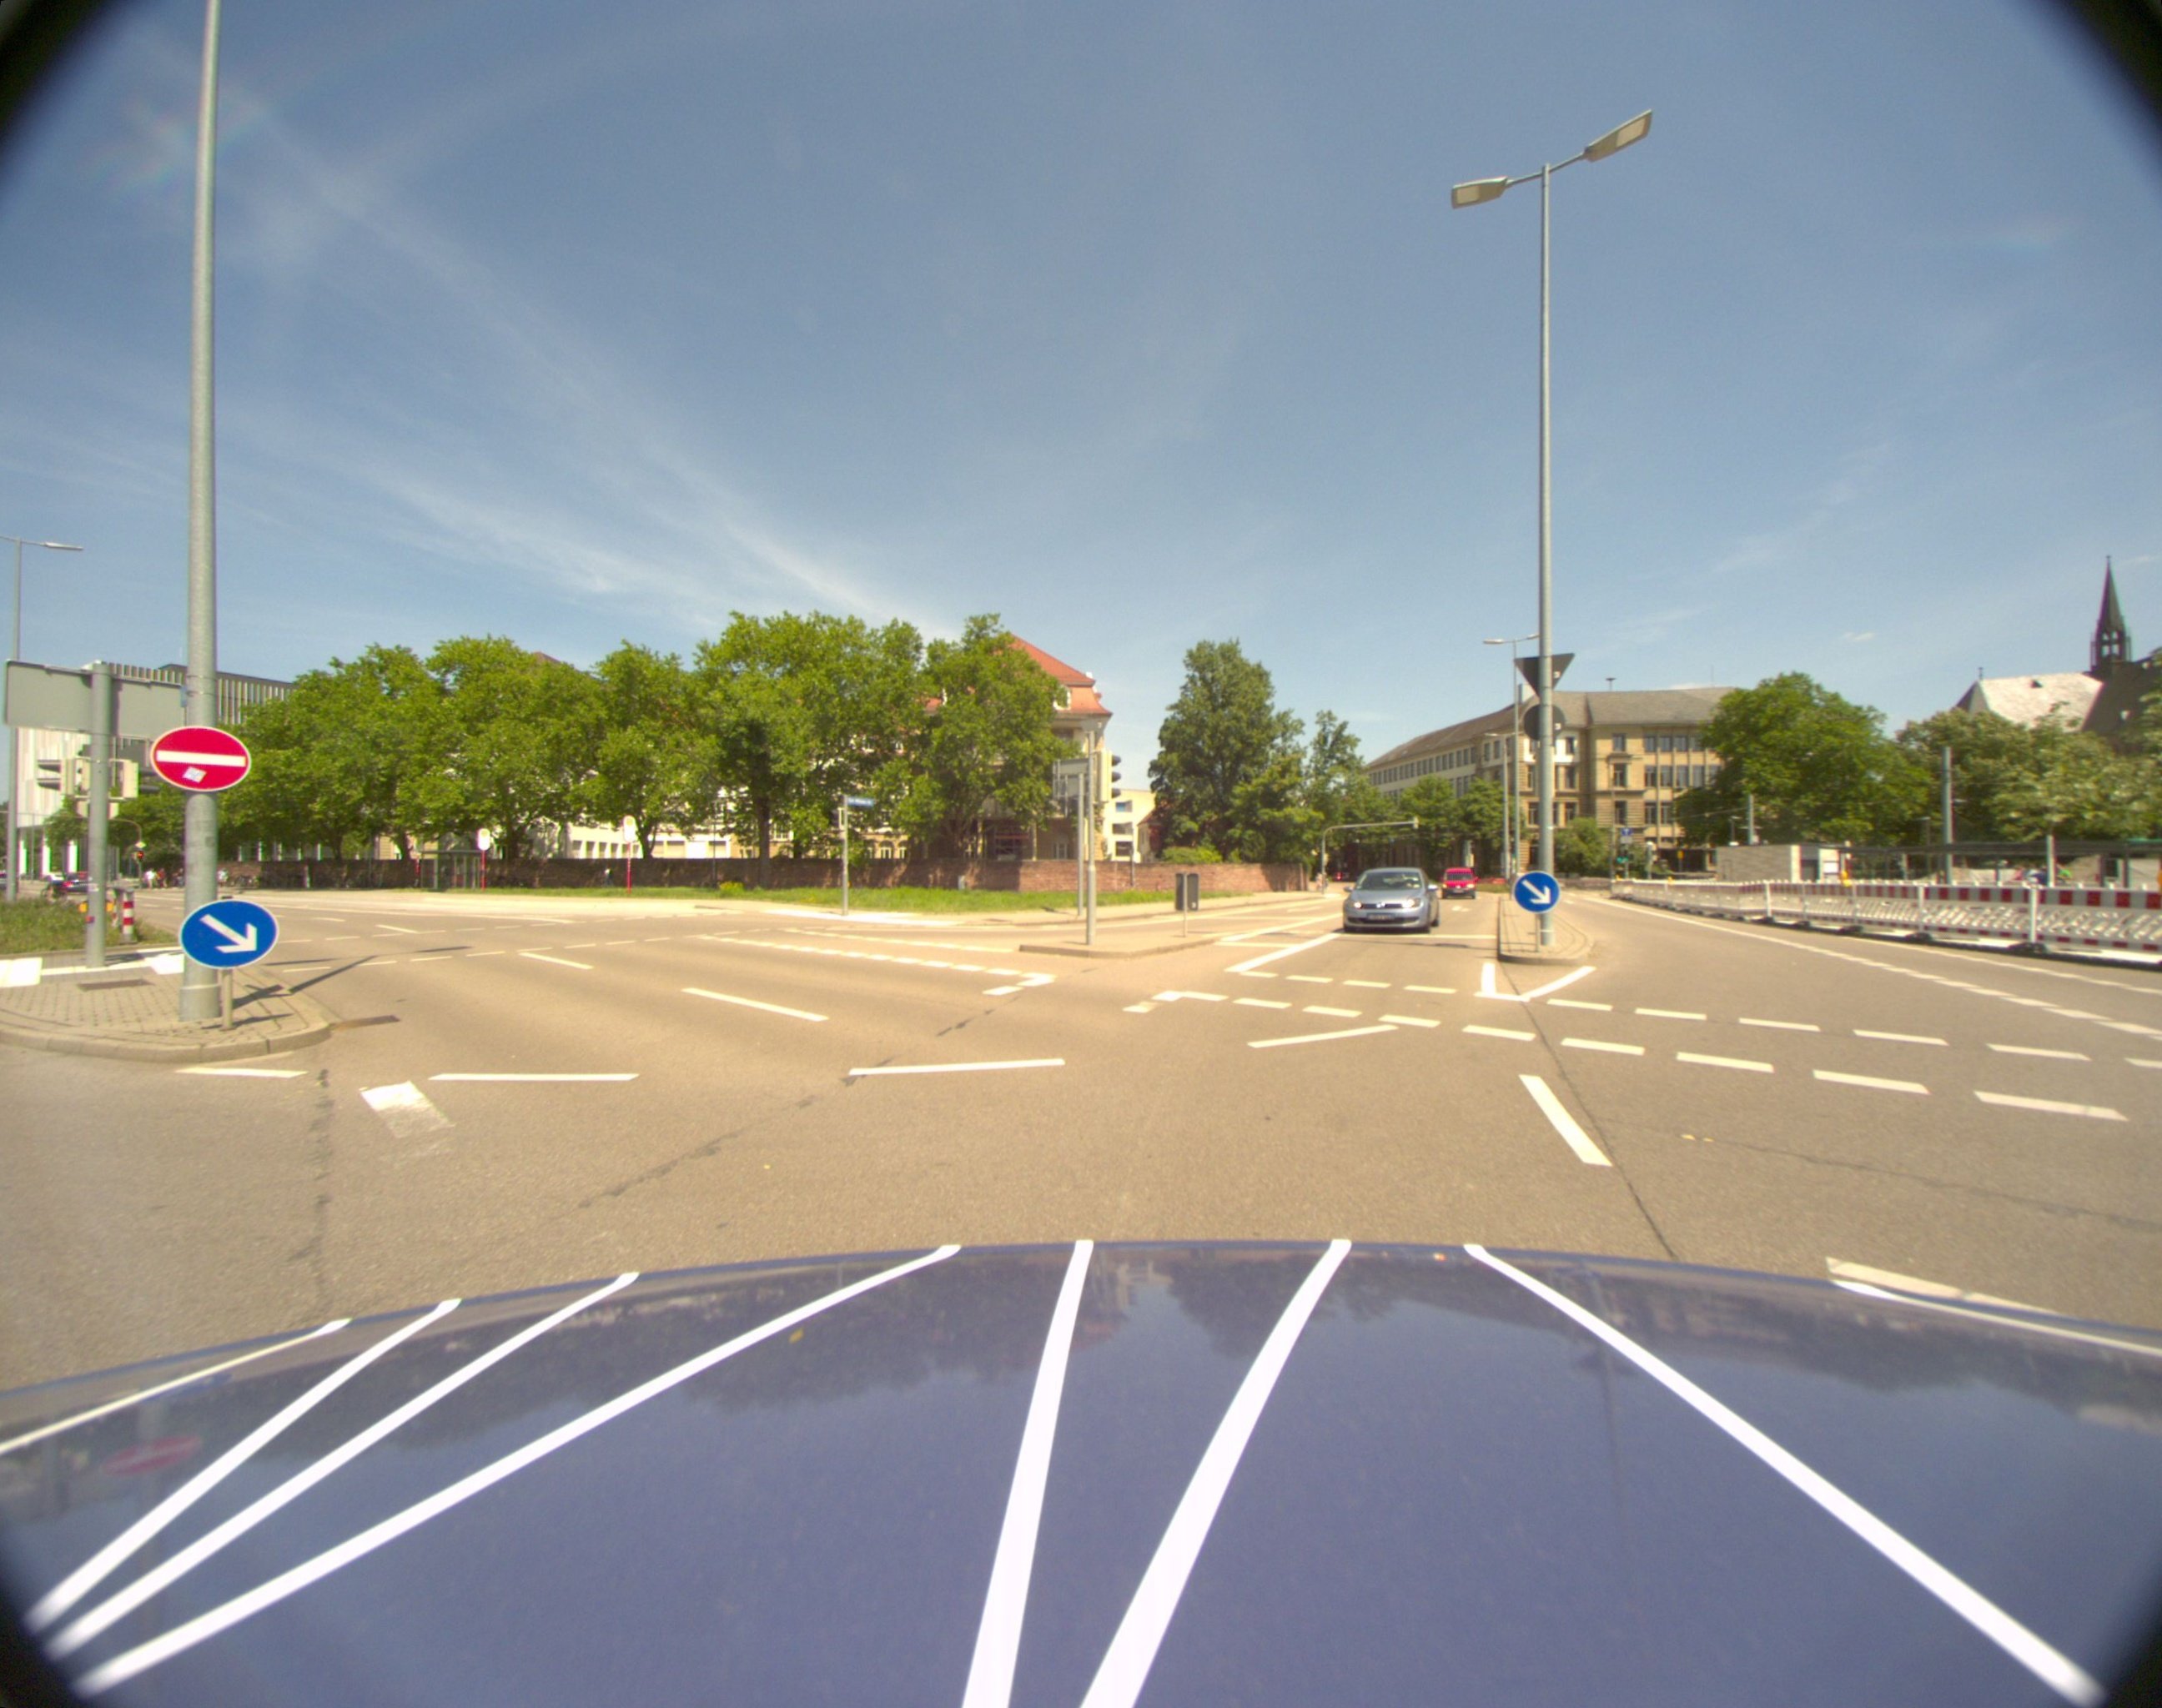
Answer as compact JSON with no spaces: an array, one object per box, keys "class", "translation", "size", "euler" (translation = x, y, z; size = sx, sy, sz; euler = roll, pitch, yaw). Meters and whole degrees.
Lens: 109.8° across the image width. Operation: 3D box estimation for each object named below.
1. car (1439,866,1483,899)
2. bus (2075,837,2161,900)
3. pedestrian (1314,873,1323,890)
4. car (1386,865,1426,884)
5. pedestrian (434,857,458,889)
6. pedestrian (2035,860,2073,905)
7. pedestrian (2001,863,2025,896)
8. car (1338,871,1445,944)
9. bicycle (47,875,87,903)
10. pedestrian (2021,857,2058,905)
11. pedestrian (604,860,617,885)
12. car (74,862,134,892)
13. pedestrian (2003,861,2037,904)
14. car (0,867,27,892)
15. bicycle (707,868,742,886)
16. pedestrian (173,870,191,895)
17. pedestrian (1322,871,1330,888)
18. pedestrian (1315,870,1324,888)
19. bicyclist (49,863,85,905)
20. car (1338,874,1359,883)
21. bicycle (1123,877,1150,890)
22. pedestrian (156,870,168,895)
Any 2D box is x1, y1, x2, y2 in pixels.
[{"class":"car","translation":[22.232,1.635,44.373],"size":[1.829,1.755,4.288],"euler":[-3,-2,32]},{"class":"bus","translation":[53.750,0.573,34.433],"size":[2.854,3.034,10.602],"euler":[-2,-2,-5]},{"class":"pedestrian","translation":[22.775,2.623,72.935],"size":[0.604,1.601,0.558],"euler":[2,-2,-3]},{"class":"car","translation":[33.679,2.159,78.953],"size":[1.709,1.851,4.258],"euler":[-2,-2,-10]},{"class":"pedestrian","translation":[-45.945,1.363,54.958],"size":[1.073,2.276,0.850],"euler":[-2,-1,16]},{"class":"pedestrian","translation":[39.542,1.152,30.878],"size":[0.645,1.778,0.637],"euler":[-2,-1,-7]},{"class":"pedestrian","translation":[47.441,1.303,38.674],"size":[0.581,1.690,0.564],"euler":[-1,-2,-25]},{"class":"car","translation":[7.184,1.110,17.331],"size":[1.829,1.406,4.002],"euler":[0,-1,29]},{"class":"bicycle","translation":[-46.907,1.612,35.138],"size":[2.187,1.229,0.522],"euler":[-3,-2,21]},{"class":"pedestrian","translation":[38.369,1.091,30.405],"size":[0.693,1.894,0.576],"euler":[-2,-1,-7]},{"class":"pedestrian","translation":[-32.650,1.267,52.729],"size":[0.526,1.710,0.589],"euler":[-2,-1,5]},{"class":"car","translation":[-68.413,1.613,53.195],"size":[4.203,2.001,2.004],"euler":[-3,-2,30]},{"class":"pedestrian","translation":[39.248,1.180,31.760],"size":[0.541,1.745,0.659],"euler":[-1,-1,-16]},{"class":"car","translation":[-77.449,1.862,54.591],"size":[3.990,1.673,1.785],"euler":[-3,-2,32]},{"class":"bicycle","translation":[-24.631,1.573,52.548],"size":[2.168,1.175,0.458],"euler":[-2,-1,1]},{"class":"pedestrian","translation":[-74.290,2.347,62.760],"size":[0.961,2.001,0.791],"euler":[-3,-2,30]},{"class":"pedestrian","translation":[23.984,2.497,74.357],"size":[0.604,1.702,0.558],"euler":[2,-2,-4]},{"class":"pedestrian","translation":[22.039,2.330,70.292],"size":[0.604,1.601,0.558],"euler":[2,-2,-3]},{"class":"bicyclist","translation":[-46.909,1.396,35.163],"size":[1.136,1.875,0.710],"euler":[-2,-1,20]},{"class":"car","translation":[45.295,4.181,128.620],"size":[3.585,1.443,1.612],"euler":[-1,-2,-34]},{"class":"bicycle","translation":[3.932,2.100,54.154],"size":[1.776,0.922,0.678],"euler":[-1,-2,-16]},{"class":"pedestrian","translation":[-74.645,2.323,61.702],"size":[0.535,2.001,0.551],"euler":[-3,-2,30]}]
